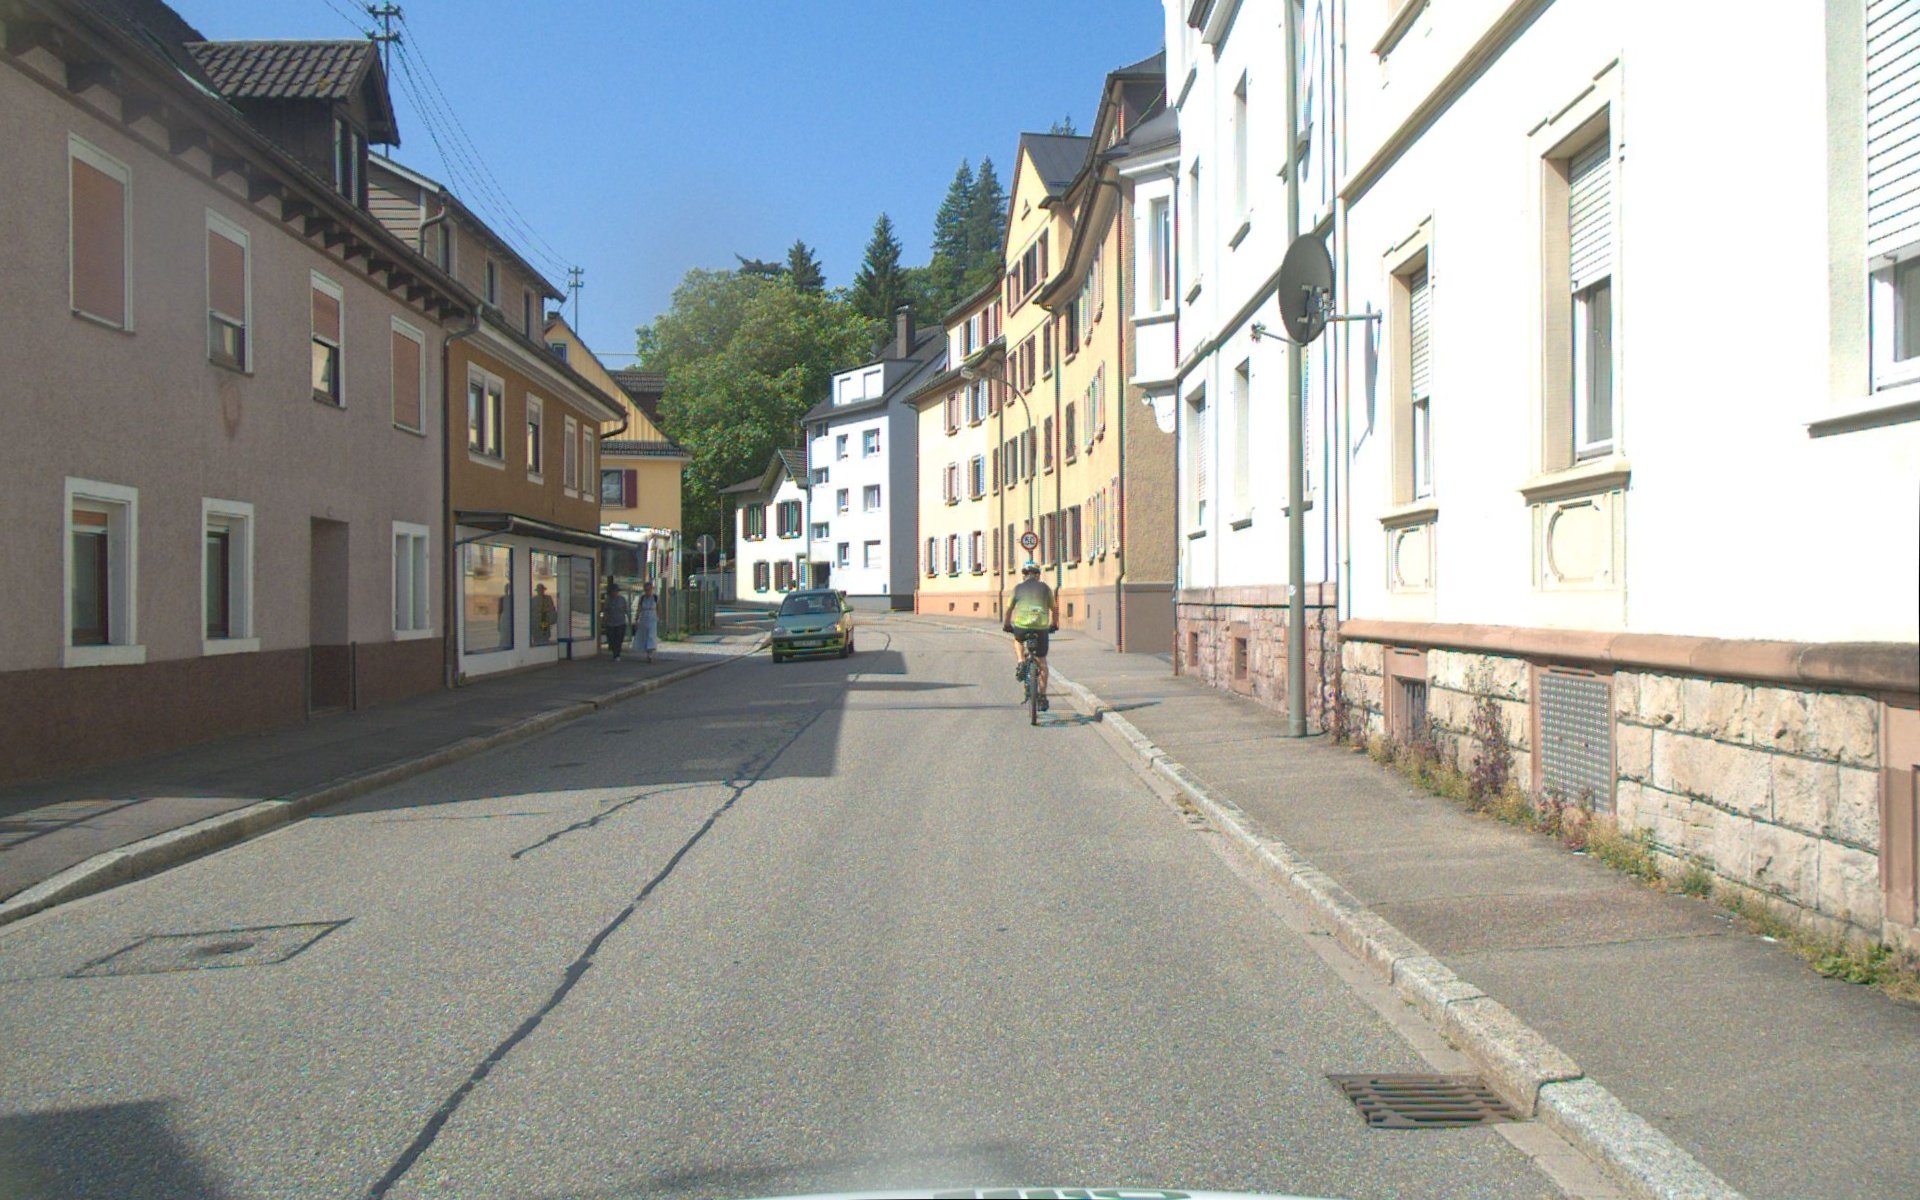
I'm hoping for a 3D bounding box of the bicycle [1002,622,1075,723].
[{"bbox_3d":[0.869,0.795,18.700,0.684,1.053,1.470,0,1,-3],"label":"bicycle"}]

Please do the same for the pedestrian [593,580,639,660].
[{"bbox_3d":[-7.100,0.406,34.149,0.720,1.592,0.824,2,0,-1],"label":"pedestrian"}]

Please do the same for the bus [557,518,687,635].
[{"bbox_3d":[-10.394,-0.703,51.746,2.765,3.284,9.028,1,0,-4],"label":"bus"}]

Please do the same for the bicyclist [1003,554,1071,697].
[{"bbox_3d":[0.864,0.280,18.676,0.672,1.558,0.715,-1,0,-3],"label":"bicyclist"}]

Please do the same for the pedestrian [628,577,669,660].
[{"bbox_3d":[-6.383,0.363,33.942,0.626,1.654,0.777,2,0,-1],"label":"pedestrian"}]

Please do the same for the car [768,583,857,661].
[{"bbox_3d":[-3.144,0.436,35.786,1.564,1.489,3.659,-4,1,-1],"label":"car"}]
